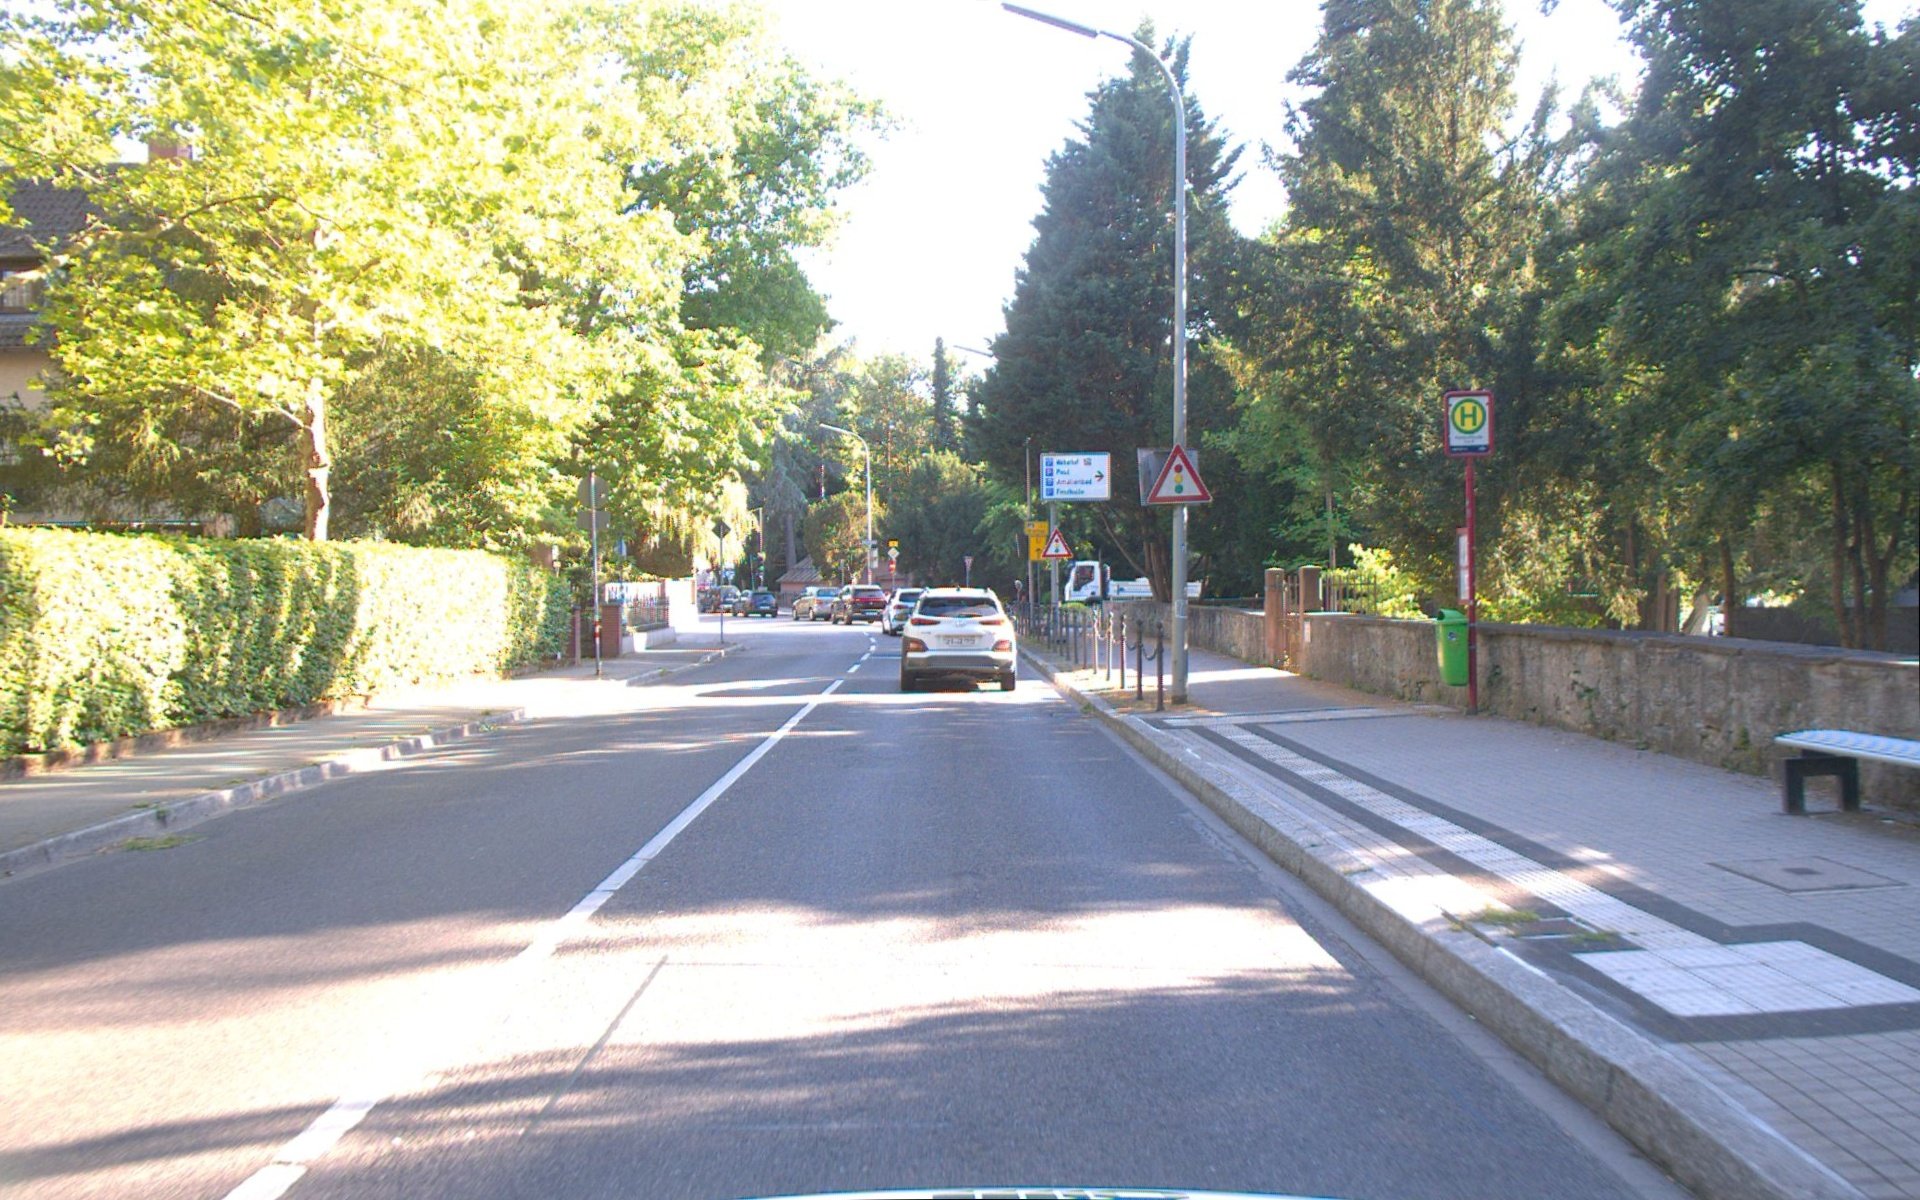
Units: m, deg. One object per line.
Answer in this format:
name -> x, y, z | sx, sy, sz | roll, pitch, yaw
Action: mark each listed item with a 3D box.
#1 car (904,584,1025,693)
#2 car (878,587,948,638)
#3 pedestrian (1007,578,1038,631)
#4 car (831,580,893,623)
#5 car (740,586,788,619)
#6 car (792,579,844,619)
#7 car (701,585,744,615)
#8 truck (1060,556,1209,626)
car -> 0.014, 0.566, 26.781 | 1.783, 1.601, 3.999 | 1, 0, -2
car -> -1.574, 0.386, 54.211 | 1.772, 1.564, 3.992 | 1, 0, -9
pedestrian -> 2.223, 0.155, 58.662 | 0.934, 1.857, 0.547 | 1, 2, -40
car -> -4.085, 0.054, 68.306 | 1.801, 1.691, 3.984 | 1, 0, -15
car -> -10.514, 0.120, 88.383 | 1.803, 1.691, 3.979 | 1, 0, -18
car -> -6.661, -0.073, 77.192 | 1.801, 1.771, 3.985 | 1, 0, -14
car -> -14.354, -0.006, 99.742 | 1.804, 1.691, 3.978 | 1, 0, -19
truck -> 7.745, -0.421, 73.939 | 6.449, 2.945, 2.434 | 1, 0, 4
